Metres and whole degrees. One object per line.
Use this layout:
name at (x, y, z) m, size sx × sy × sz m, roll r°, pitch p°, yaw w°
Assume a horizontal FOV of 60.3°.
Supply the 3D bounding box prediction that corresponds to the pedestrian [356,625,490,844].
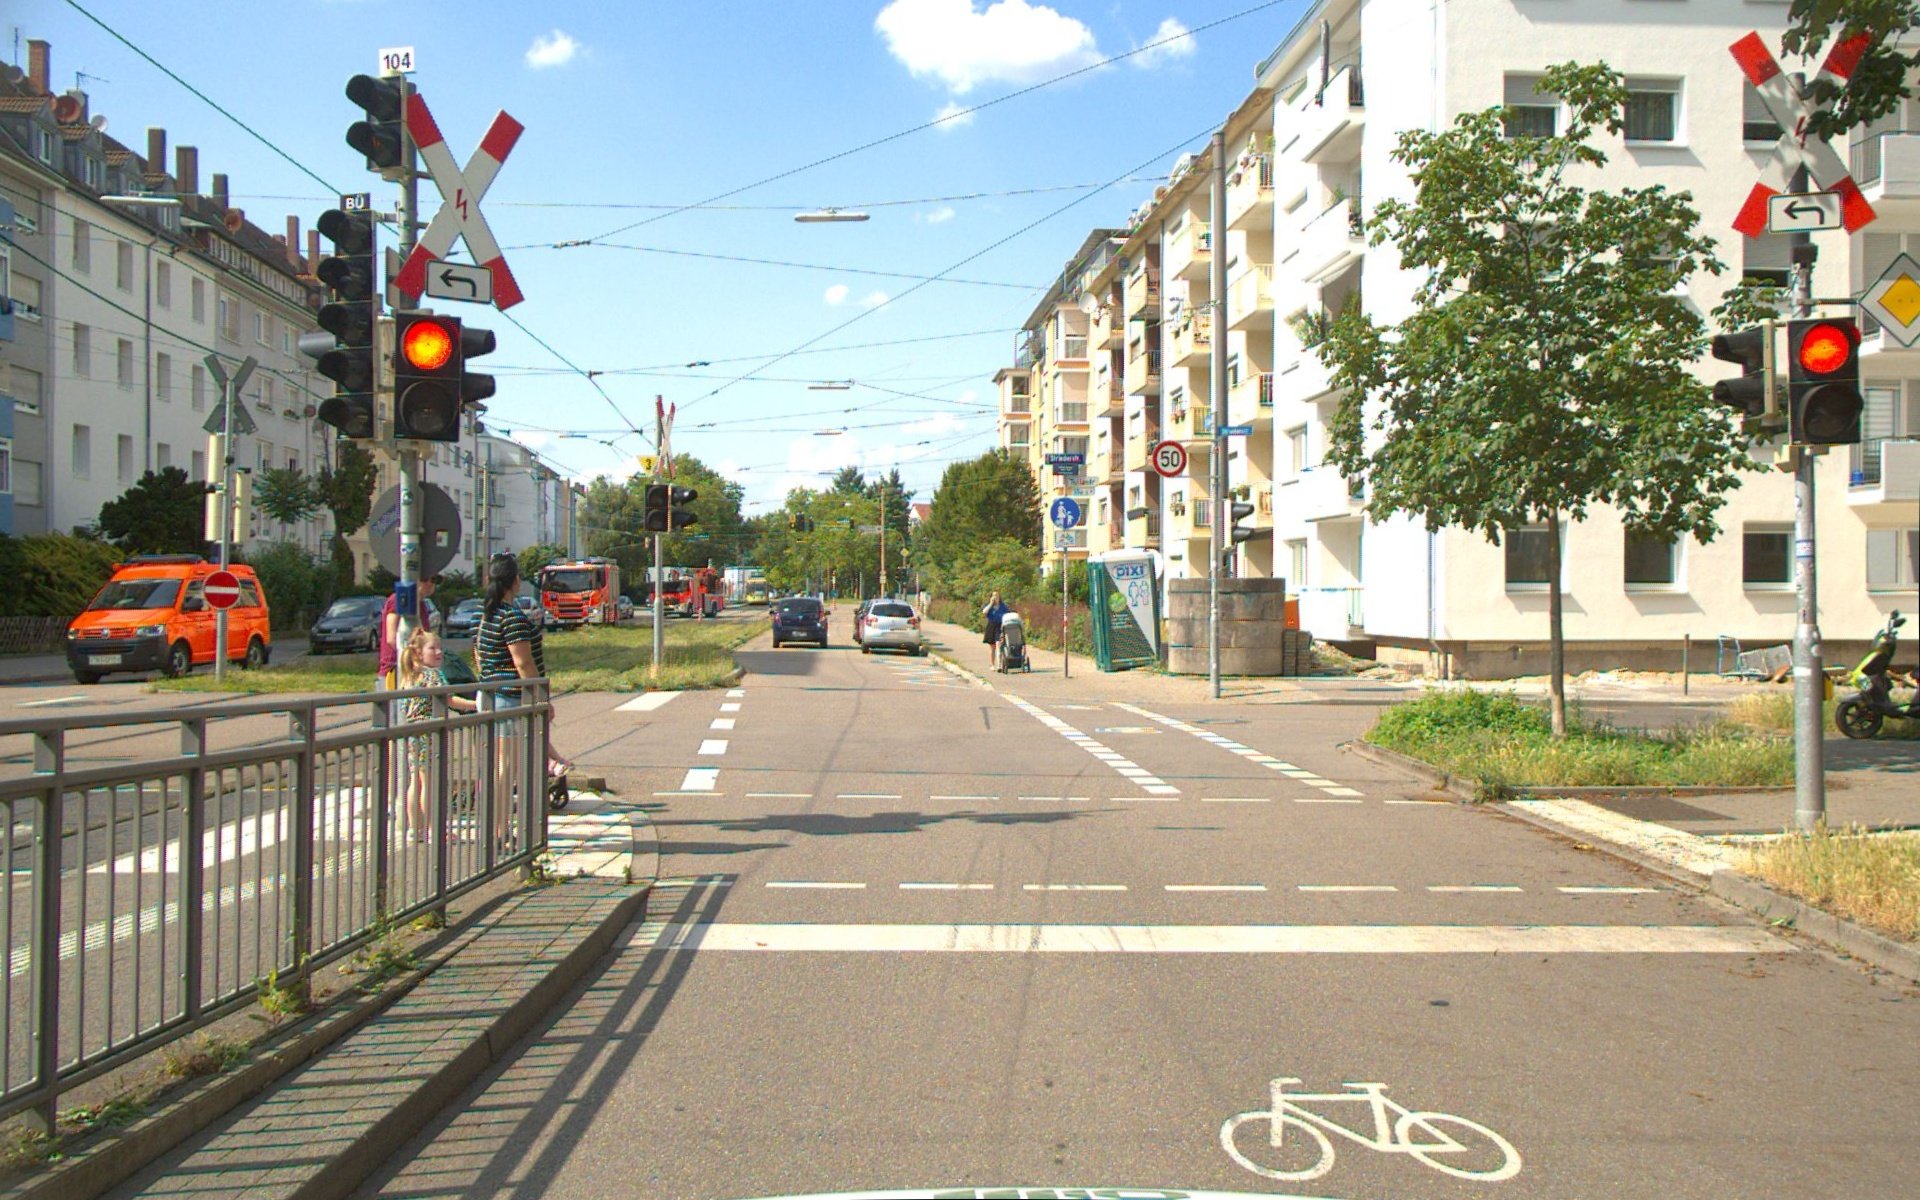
pedestrian at (-3.149, 0.752, 9.673) m, size 0.629 × 1.201 × 0.792 m, roll 0°, pitch -1°, yaw -27°

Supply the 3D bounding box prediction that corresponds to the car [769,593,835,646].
car at (-4.852, 0.578, 51.252) m, size 1.708 × 1.533 × 3.999 m, roll 1°, pitch 0°, yaw -1°

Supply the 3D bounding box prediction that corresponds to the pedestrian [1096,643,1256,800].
pedestrian at (3.176, 1.745, 25.029) m, size 1.952 × 2.049 × 4.001 m, roll 1°, pitch 0°, yaw 1°

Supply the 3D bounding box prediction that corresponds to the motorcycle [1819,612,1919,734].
motorcycle at (10.225, 0.772, 17.615) m, size 0.565 × 1.236 × 1.826 m, roll -5°, pitch 1°, yaw -32°

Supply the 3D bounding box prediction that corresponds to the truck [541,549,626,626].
truck at (-16.889, -0.511, 74.706) m, size 2.545 × 3.241 × 8.373 m, roll 0°, pitch 0°, yaw -5°

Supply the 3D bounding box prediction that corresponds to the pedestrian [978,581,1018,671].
pedestrian at (0.782, 0.539, 34.679) m, size 0.687 × 1.820 × 1.029 m, roll -3°, pitch 0°, yaw -2°

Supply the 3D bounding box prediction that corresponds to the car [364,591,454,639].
car at (-17.992, 0.482, 54.190) m, size 1.733 × 1.467 × 3.998 m, roll 1°, pitch 0°, yaw -3°

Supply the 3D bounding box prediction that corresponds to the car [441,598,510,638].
car at (-18.745, 0.685, 64.142) m, size 1.733 × 1.467 × 3.996 m, roll 2°, pitch 0°, yaw -4°

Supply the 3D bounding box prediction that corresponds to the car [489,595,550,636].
car at (-19.936, 0.683, 75.019) m, size 1.954 × 1.741 × 3.996 m, roll 2°, pitch 0°, yaw -5°

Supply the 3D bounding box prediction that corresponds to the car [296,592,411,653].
car at (-17.596, 0.637, 48.182) m, size 1.954 × 1.674 × 3.998 m, roll 1°, pitch 0°, yaw -3°

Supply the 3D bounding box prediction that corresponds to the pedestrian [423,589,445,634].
pedestrian at (-21.623, 0.458, 68.022) m, size 0.692 × 1.825 × 0.863 m, roll 0°, pitch 0°, yaw -7°

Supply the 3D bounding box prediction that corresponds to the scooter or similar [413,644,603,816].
scooter or similar at (-2.982, 0.846, 10.985) m, size 1.078 × 1.074 × 0.650 m, roll 1°, pitch -1°, yaw -4°

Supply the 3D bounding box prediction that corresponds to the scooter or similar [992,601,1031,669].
scooter or similar at (1.048, 0.709, 33.794) m, size 0.649 × 1.326 × 0.868 m, roll -3°, pitch 0°, yaw -4°

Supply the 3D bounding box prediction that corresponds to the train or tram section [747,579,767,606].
train or tram section at (-24.616, -0.904, 200.691) m, size 2.215 × 3.122 × 8.122 m, roll 0°, pitch 0°, yaw -6°

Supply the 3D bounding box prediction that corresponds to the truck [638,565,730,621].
truck at (-18.244, -0.388, 110.134) m, size 2.610 × 3.531 × 10.176 m, roll 1°, pitch 0°, yaw 10°

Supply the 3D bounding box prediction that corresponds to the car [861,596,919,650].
car at (-2.046, 0.658, 48.227) m, size 1.590 × 1.490 × 3.508 m, roll 1°, pitch 0°, yaw -3°

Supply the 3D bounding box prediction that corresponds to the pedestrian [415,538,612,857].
pedestrian at (-2.531, 0.519, 9.366) m, size 0.839 × 1.697 × 0.788 m, roll 0°, pitch -1°, yaw -38°

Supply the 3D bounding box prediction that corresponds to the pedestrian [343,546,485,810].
pedestrian at (-3.612, 0.506, 10.988) m, size 0.691 × 1.677 × 0.636 m, roll 2°, pitch -1°, yaw -3°

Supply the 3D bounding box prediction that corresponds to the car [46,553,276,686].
car at (-15.058, 0.337, 31.507) m, size 1.952 × 2.315 × 4.834 m, roll -1°, pitch 0°, yaw 1°

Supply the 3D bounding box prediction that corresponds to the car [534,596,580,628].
car at (-20.718, 0.622, 85.155) m, size 1.742 × 1.584 × 3.995 m, roll 2°, pitch 0°, yaw -6°
